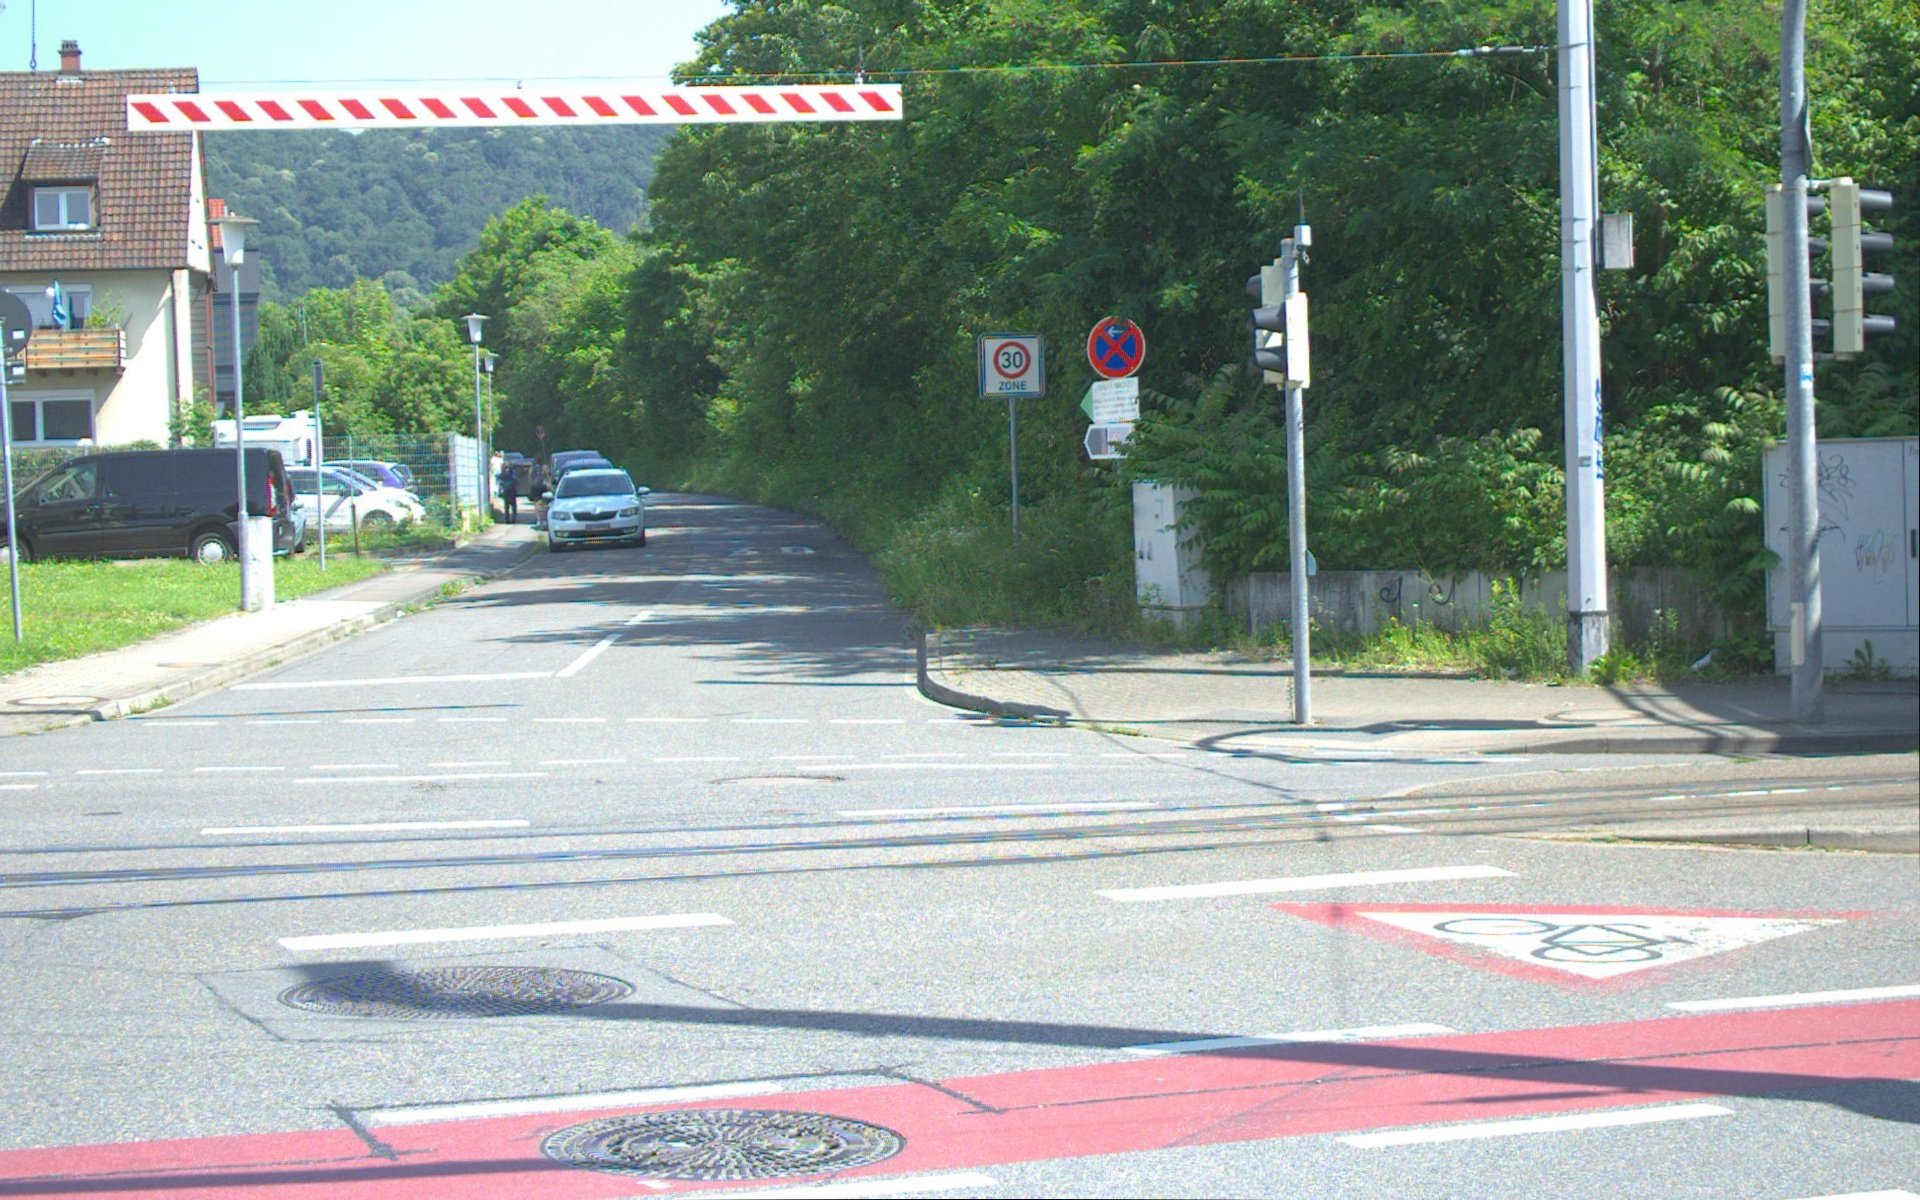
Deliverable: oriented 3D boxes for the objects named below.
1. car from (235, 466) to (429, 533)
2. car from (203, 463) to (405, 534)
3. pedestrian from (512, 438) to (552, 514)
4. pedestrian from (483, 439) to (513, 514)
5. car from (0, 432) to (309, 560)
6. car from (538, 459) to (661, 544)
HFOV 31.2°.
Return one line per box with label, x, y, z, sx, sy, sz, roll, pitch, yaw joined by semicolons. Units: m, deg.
car;-12.869;-2.057;70.606;3.720;1.367;1.605;0;1;-2
car;-12.938;-1.995;67.944;3.720;1.367;1.604;0;1;-2
pedestrian;-10.063;-2.907;80.842;0.876;1.756;0.731;0;1;-4
pedestrian;-10.907;-2.909;81.172;0.653;1.756;0.804;0;1;-4
car;-13.000;-1.622;53.814;5.247;1.810;2.000;-2;2;-4
car;-6.757;-1.891;64.816;2.086;1.505;4.540;0;3;-3
